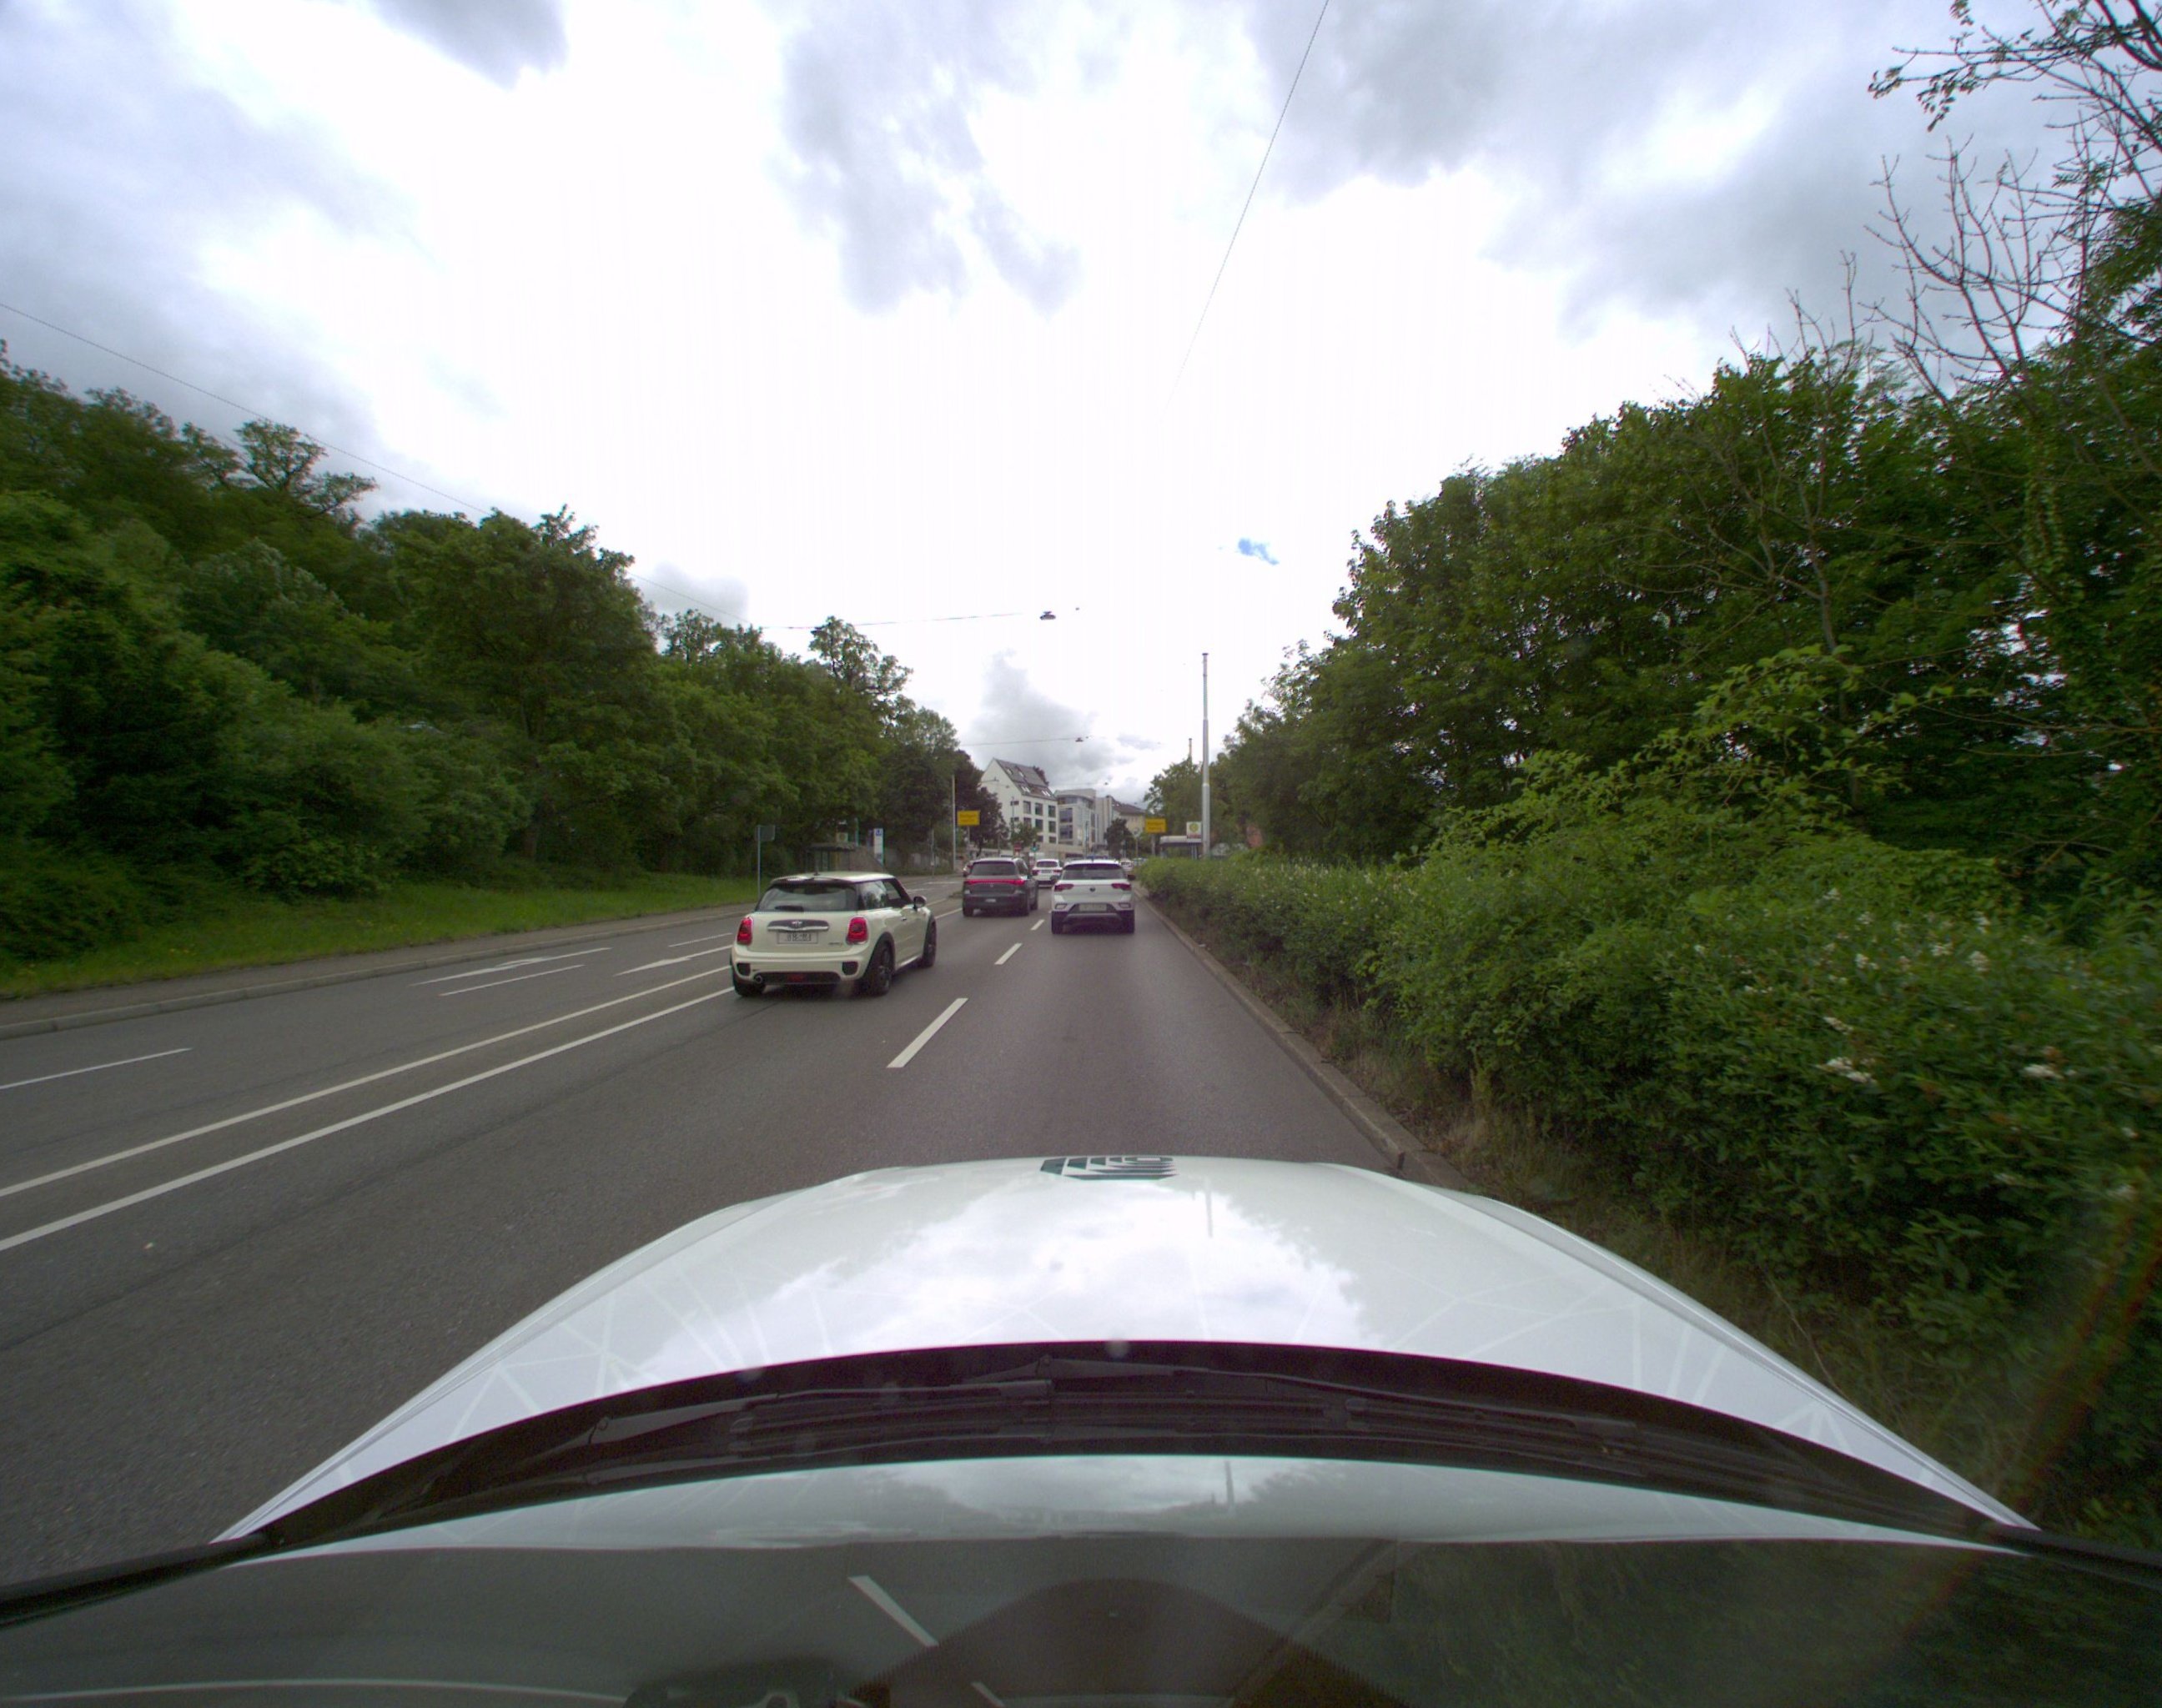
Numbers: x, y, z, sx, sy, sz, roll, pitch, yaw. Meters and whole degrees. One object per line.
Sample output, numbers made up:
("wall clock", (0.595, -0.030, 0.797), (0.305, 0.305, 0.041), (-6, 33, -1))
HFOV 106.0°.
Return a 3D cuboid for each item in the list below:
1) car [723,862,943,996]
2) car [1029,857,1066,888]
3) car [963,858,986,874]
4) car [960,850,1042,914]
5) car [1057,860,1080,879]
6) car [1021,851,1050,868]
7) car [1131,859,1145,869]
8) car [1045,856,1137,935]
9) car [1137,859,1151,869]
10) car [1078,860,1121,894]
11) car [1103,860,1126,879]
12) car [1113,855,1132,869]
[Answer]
("car", (-3.008, 0.835, 10.648), (1.621, 1.393, 3.568), (-2, -1, 2))
("car", (-1.844, 1.008, 46.384), (1.852, 1.652, 4.635), (-2, 0, 0))
("car", (-10.319, 1.155, 79.064), (1.724, 1.541, 4.040), (0, 0, -2))
("car", (-2.254, 0.768, 24.089), (1.806, 1.652, 4.637), (-2, 0, 1))
("car", (-1.034, 1.262, 69.281), (1.852, 1.500, 4.055), (-2, 0, 0))
("car", (-7.247, 0.836, 130.784), (2.214, 2.568, 7.455), (-1, 0, 17))
("car", (8.995, 1.638, 128.648), (1.847, 1.500, 4.066), (-2, -1, 9))
("car", (0.208, 0.852, 18.334), (1.806, 1.539, 3.689), (-2, -1, 0))
("car", (9.590, 1.510, 123.456), (1.848, 1.500, 4.063), (-2, -1, 7))
("car", (0.841, 1.043, 38.724), (1.852, 1.500, 4.055), (-2, 0, 0))
("car", (2.886, 1.334, 70.160), (1.866, 1.501, 4.557), (2, 0, 2))
("car", (4.667, 0.889, 91.521), (1.852, 1.500, 4.055), (-2, 0, 0))
